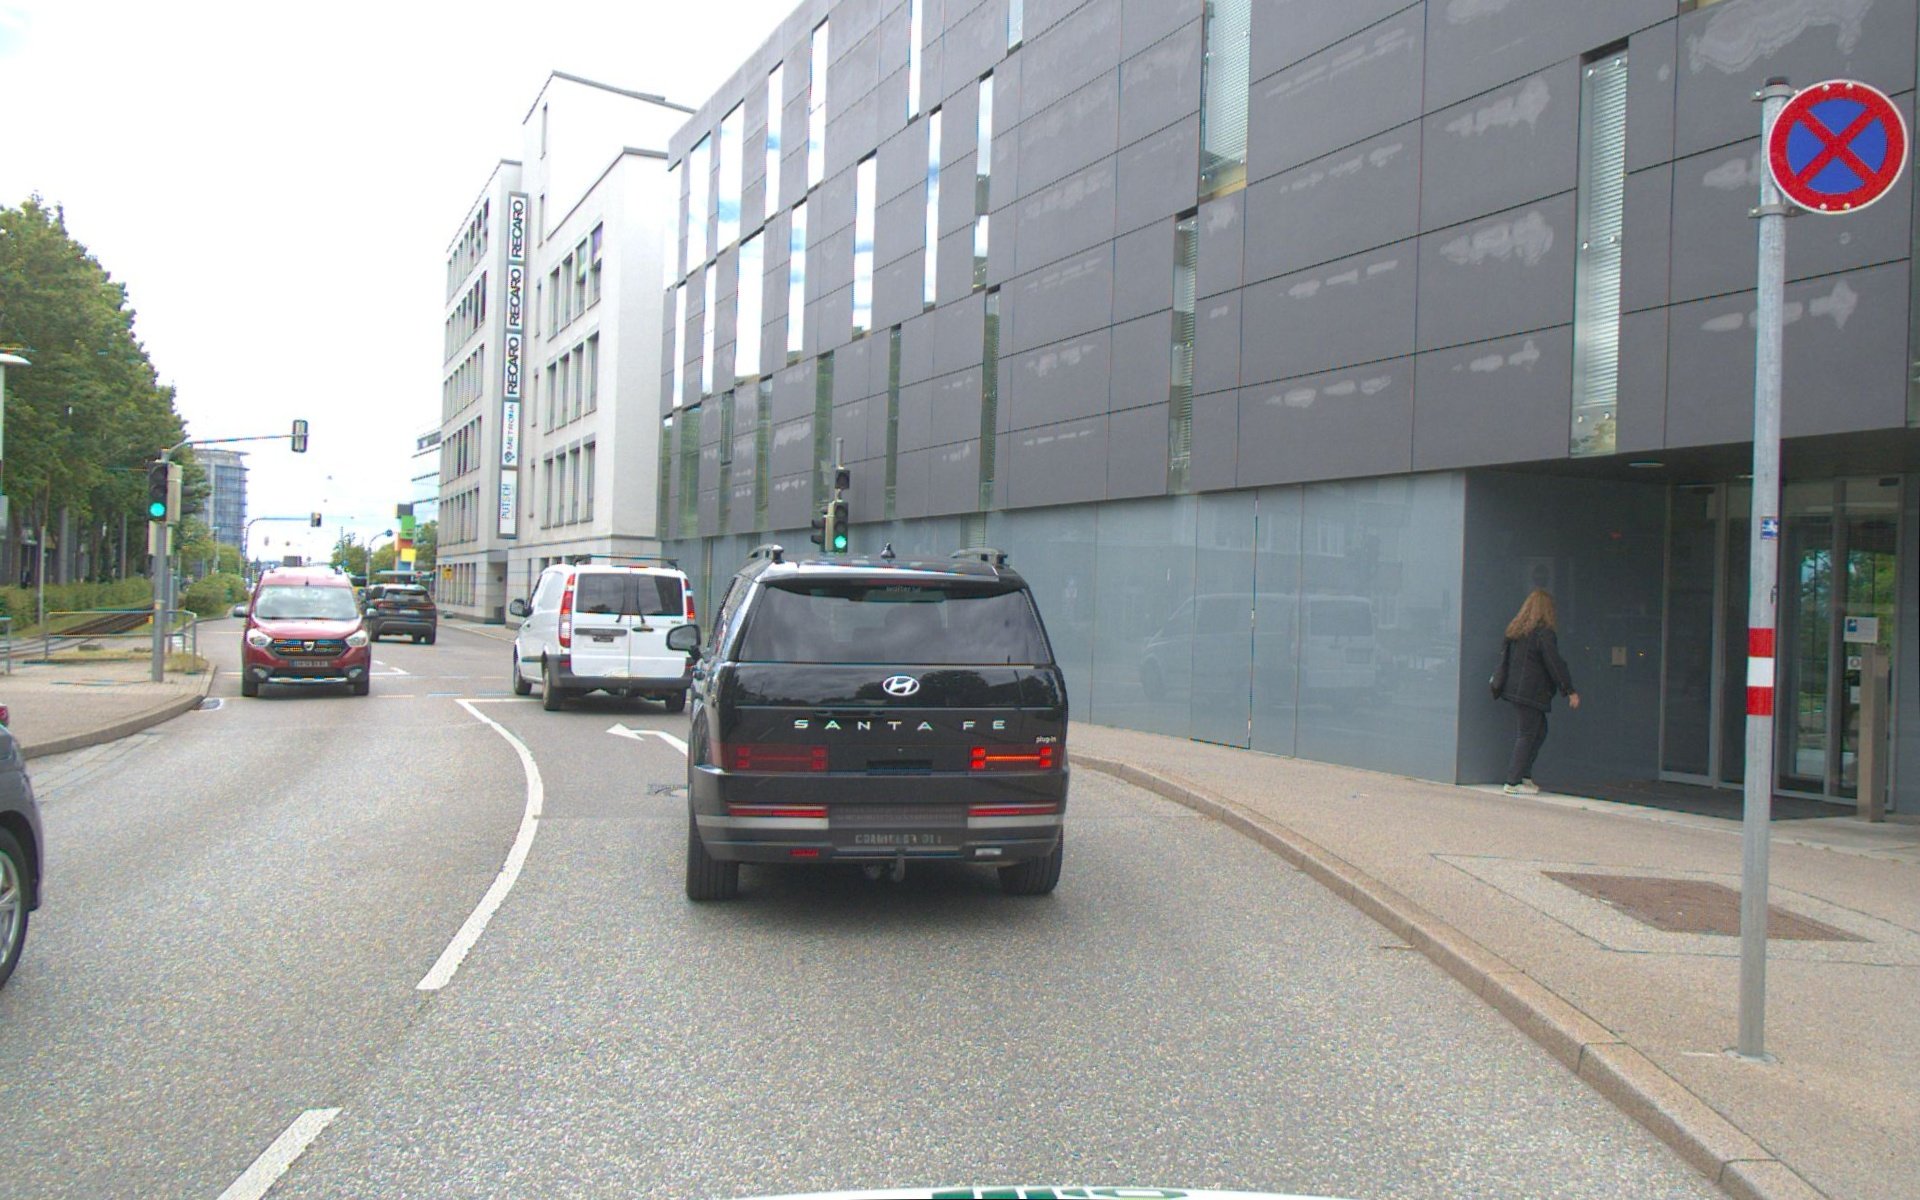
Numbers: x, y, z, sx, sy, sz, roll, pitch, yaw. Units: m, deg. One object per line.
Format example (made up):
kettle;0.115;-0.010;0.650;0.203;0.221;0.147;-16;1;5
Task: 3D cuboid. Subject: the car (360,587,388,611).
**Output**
car;-40.815;-0.070;115.110;1.734;1.637;4.163;2;0;-20

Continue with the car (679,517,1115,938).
car;-0.588;0.551;9.317;1.873;1.780;4.387;1;0;-9

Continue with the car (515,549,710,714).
car;-4.899;0.391;22.815;1.904;2.029;4.506;2;0;-21

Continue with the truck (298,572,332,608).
truck;-50.453;-0.772;129.334;2.137;2.661;5.752;2;0;-24

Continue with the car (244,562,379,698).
car;-9.717;0.400;24.627;1.659;1.840;4.318;0;0;-24

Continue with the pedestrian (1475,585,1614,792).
pedestrian;5.008;0.744;14.201;0.847;1.724;0.711;2;0;-12

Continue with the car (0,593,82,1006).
car;-4.192;0.733;4.676;1.735;1.504;3.993;0;0;-8

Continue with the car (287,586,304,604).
car;-73.134;-0.520;182.066;1.643;1.915;3.973;2;0;-22

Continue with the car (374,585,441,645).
car;-16.176;0.417;48.355;1.733;1.637;4.164;2;0;-19

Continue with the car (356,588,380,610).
car;-47.229;-0.109;132.020;1.734;1.637;4.163;2;0;-20
